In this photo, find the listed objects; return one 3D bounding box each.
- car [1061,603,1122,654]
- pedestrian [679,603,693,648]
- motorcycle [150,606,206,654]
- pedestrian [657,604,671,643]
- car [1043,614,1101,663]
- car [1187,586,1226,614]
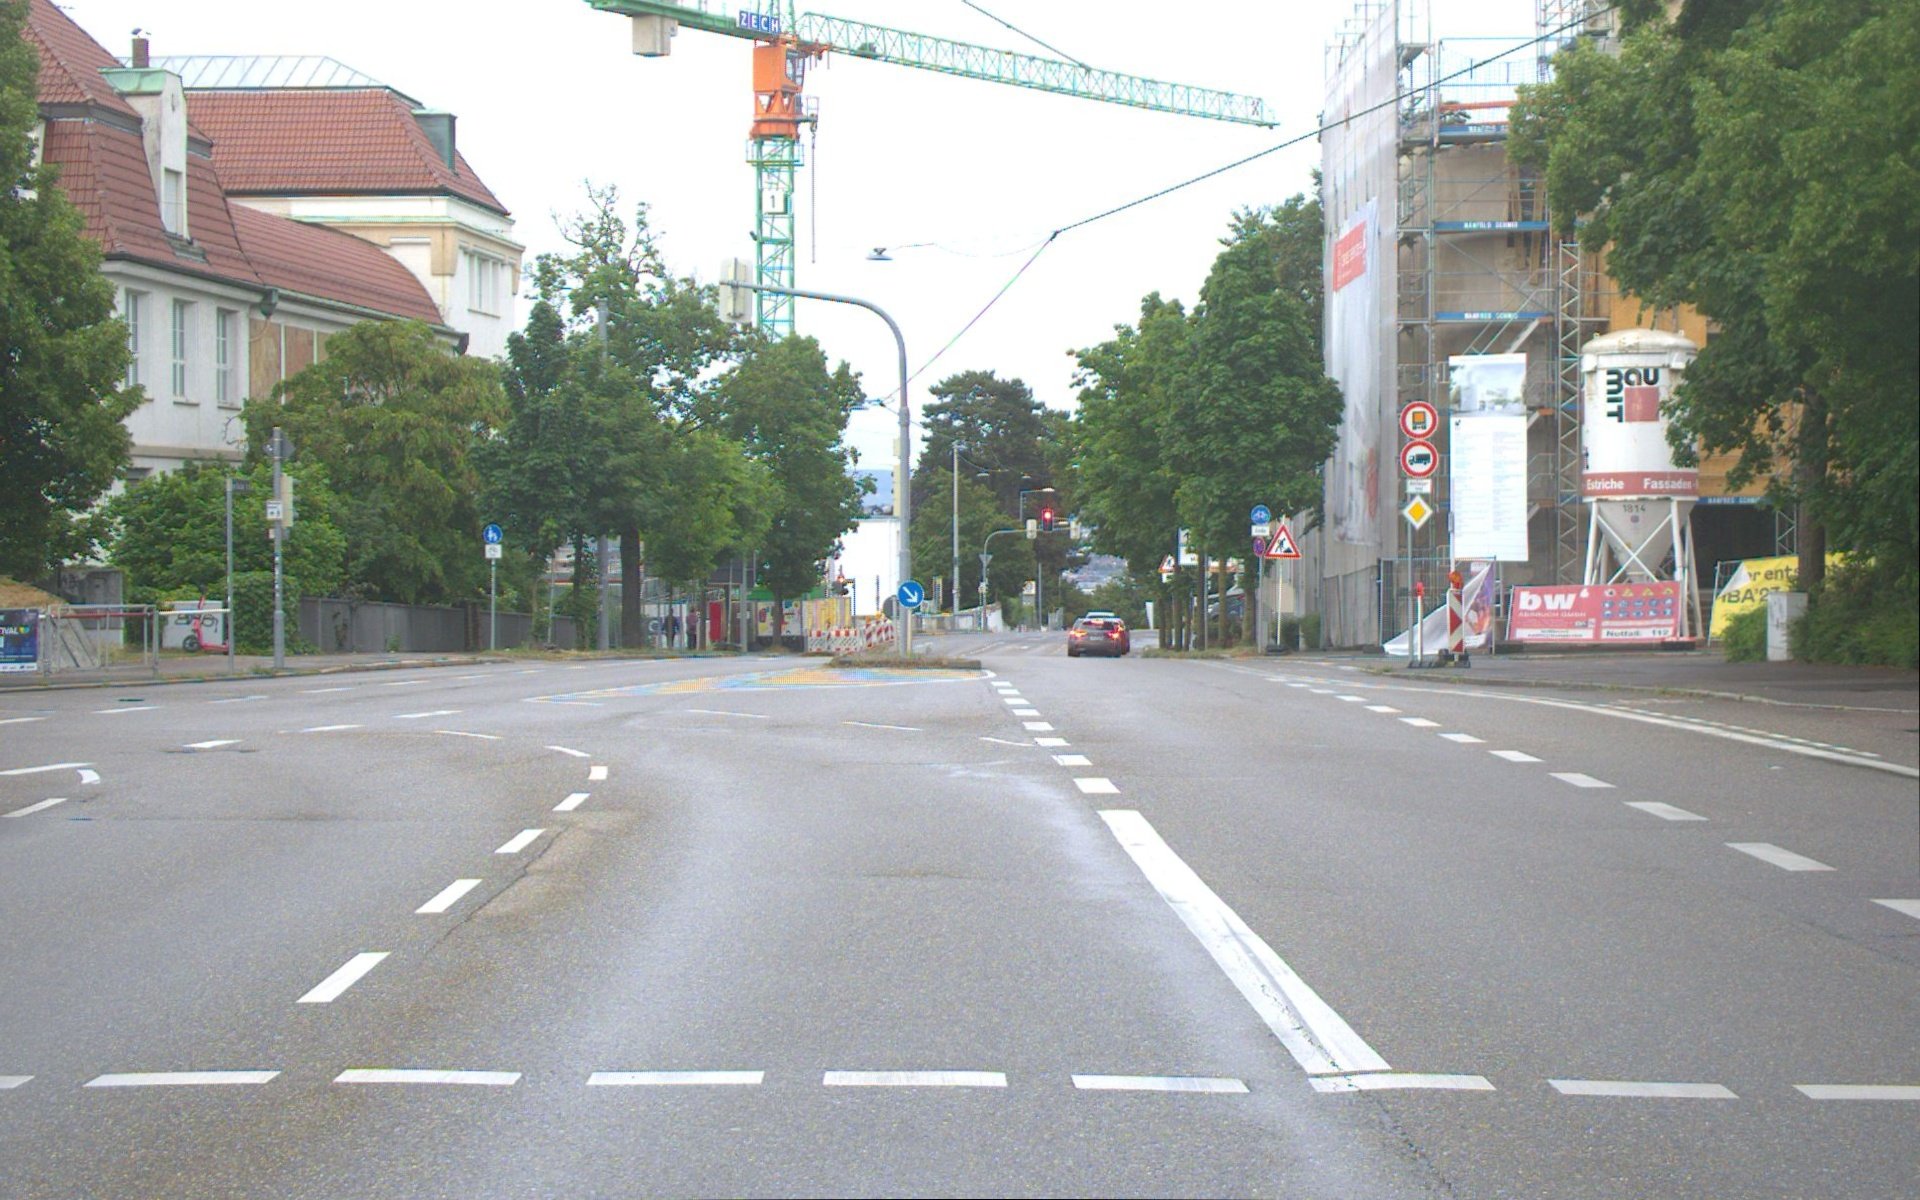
[{"bbox_3d":[4.756,1.028,124.976,1.993,1.744,4.000,-1,1,-1],"label":"car"},{"bbox_3d":[-10.039,0.931,125.941,0.493,1.640,0.534,1,0,-6],"label":"pedestrian"},{"bbox_3d":[-14.751,0.562,64.865,0.849,0.874,0.877,1,0,-1],"label":"motorcycle"},{"bbox_3d":[-10.840,0.865,125.919,0.474,1.391,0.411,-1,1,-1],"label":"pedestrian"},{"bbox_3d":[4.238,1.462,130.769,1.993,1.744,4.000,-1,1,-1],"label":"car"},{"bbox_3d":[15.738,-0.010,219.323,1.994,1.744,3.998,-1,1,11],"label":"car"}]
